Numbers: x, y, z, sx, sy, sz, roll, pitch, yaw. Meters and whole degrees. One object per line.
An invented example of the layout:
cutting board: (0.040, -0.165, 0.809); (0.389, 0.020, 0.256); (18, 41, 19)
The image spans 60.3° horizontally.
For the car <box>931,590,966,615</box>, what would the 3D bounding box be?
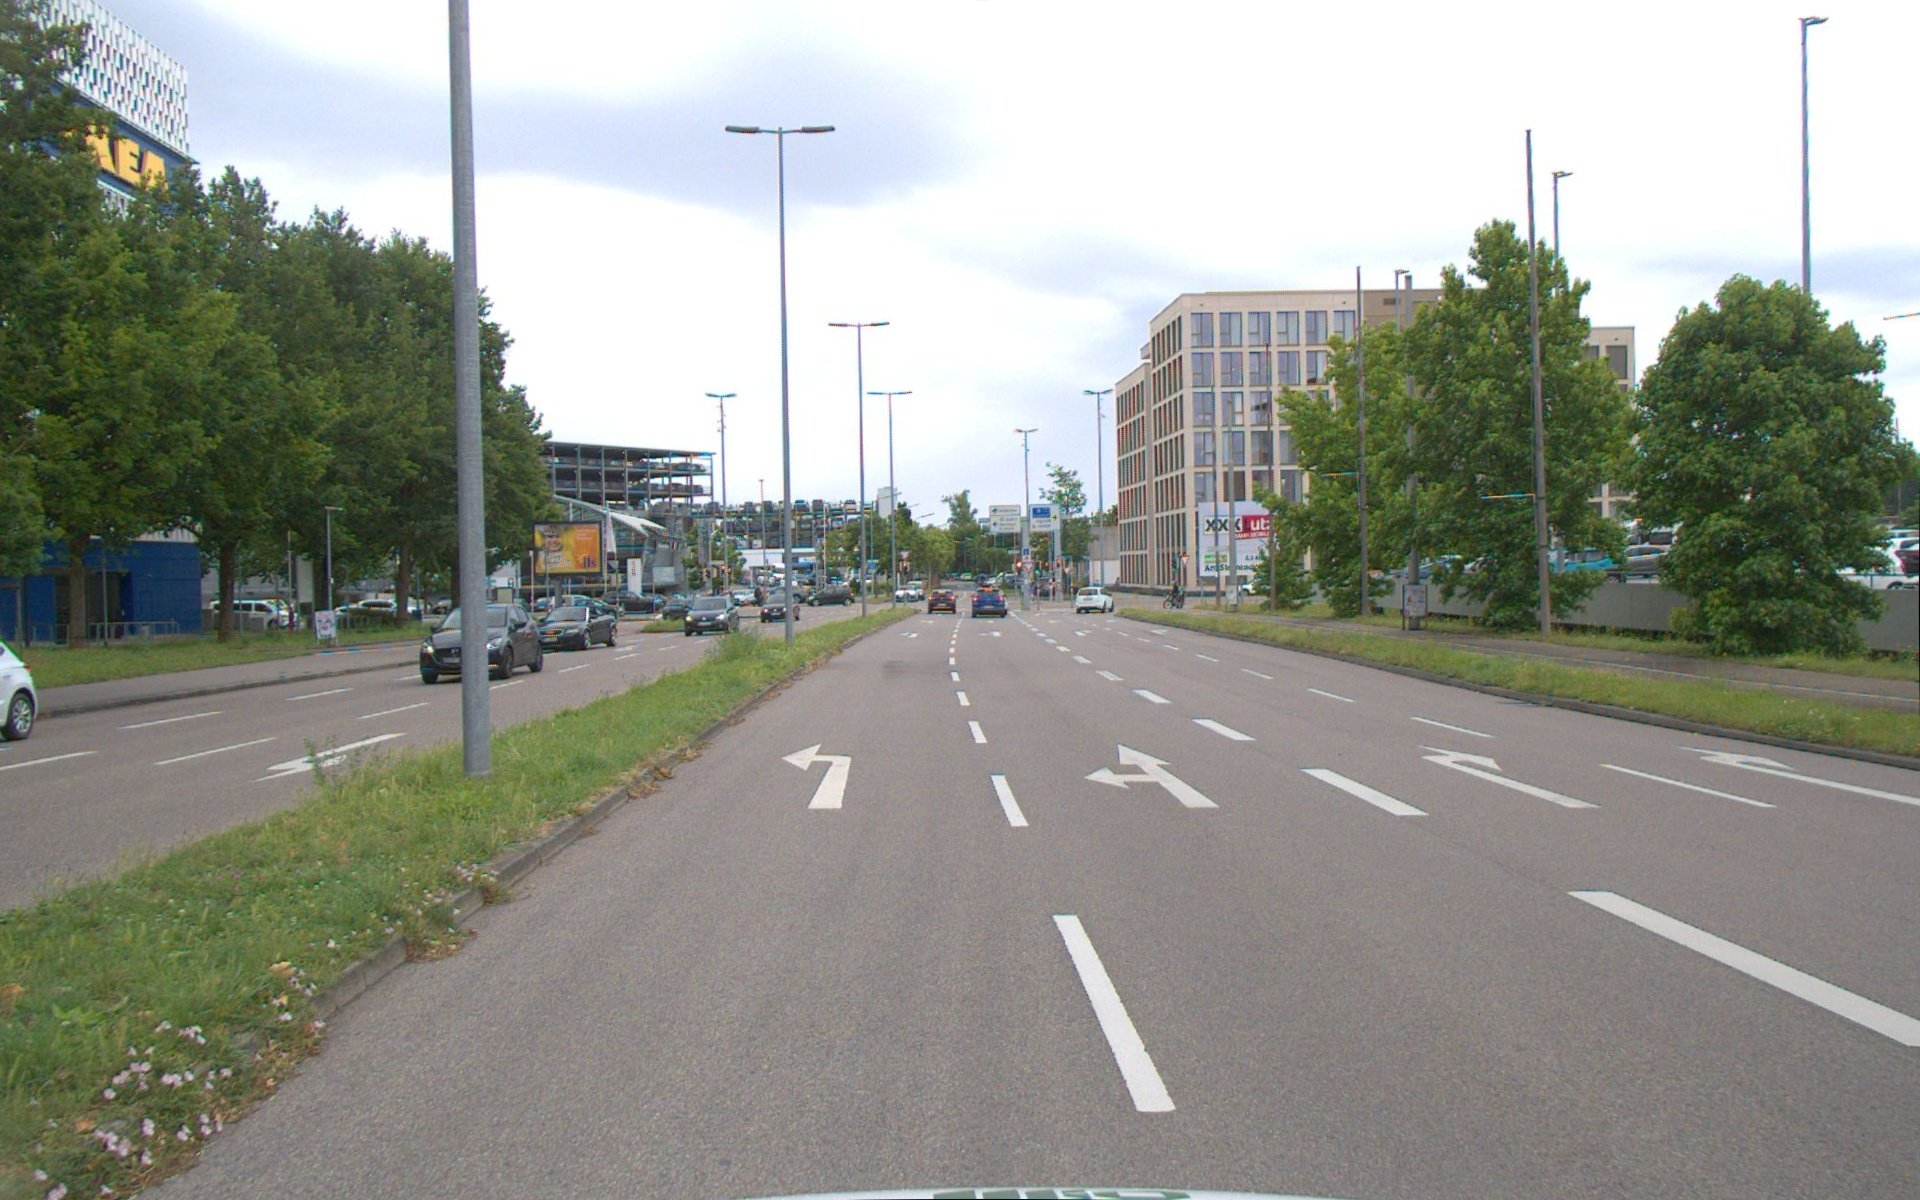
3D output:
car: (-0.719, 0.180, 100.692); (1.948, 1.453, 4.239); (-1, -1, -2)

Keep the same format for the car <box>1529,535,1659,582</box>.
car: (22.892, -1.509, 59.785); (3.988, 1.551, 1.811); (-1, 2, -5)

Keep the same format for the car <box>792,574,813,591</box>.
car: (-17.995, -1.974, 188.851); (1.738, 1.735, 3.919); (-1, 2, 4)

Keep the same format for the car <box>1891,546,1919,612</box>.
car: (22.232, -0.477, 35.112); (3.973, 1.373, 1.763); (-1, 2, -3)

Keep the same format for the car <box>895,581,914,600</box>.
car: (-4.958, -0.872, 148.866); (1.568, 1.478, 3.325); (-1, 2, 0)

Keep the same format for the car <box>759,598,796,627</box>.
car: (-9.824, 0.662, 89.210); (1.893, 1.481, 4.178); (-1, 0, -5)

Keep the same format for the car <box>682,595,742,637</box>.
car: (-9.745, 0.601, 65.127); (1.744, 1.481, 4.181); (-3, 1, -1)

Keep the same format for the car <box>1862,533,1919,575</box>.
car: (36.629, -1.776, 62.830); (3.764, 1.534, 1.784); (-2, 2, 1)

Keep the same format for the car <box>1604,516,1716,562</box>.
car: (36.227, -3.159, 85.735); (4.907, 2.249, 2.166); (-1, 2, 3)

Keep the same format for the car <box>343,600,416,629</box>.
car: (-40.483, 1.004, 115.378); (4.347, 1.740, 1.999); (-2, 4, -6)

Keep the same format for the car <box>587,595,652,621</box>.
car: (-24.847, 0.567, 120.663); (4.314, 1.672, 2.000); (-1, 2, -2)

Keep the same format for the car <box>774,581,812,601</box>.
car: (-15.698, -0.866, 155.602); (3.535, 1.696, 1.547); (-1, 2, -5)

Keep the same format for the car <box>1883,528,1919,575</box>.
car: (35.674, -1.783, 59.889); (3.556, 1.661, 1.702); (-1, 2, 3)

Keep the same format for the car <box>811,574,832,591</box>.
car: (-15.850, -2.024, 188.914); (1.738, 1.735, 3.919); (-1, 2, 4)

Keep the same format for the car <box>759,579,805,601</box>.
car: (-15.580, -0.891, 144.705); (3.909, 1.821, 1.846); (-1, 2, -5)

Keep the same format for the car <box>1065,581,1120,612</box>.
car: (8.010, -0.212, 99.494); (1.954, 1.782, 4.177); (-1, 0, 25)

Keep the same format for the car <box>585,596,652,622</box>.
car: (-23.611, 0.605, 114.437); (4.332, 1.689, 1.997); (-1, 0, -7)

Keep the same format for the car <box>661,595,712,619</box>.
car: (-21.141, 0.521, 127.870); (3.782, 1.663, 1.723); (-2, 2, -7)

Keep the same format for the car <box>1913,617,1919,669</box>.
car: (27.533, 1.112, 43.506); (3.973, 1.374, 1.763); (-1, 0, -3)

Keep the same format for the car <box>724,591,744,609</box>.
car: (-19.118, 0.019, 139.813); (1.348, 1.349, 3.023); (-2, 2, -14)

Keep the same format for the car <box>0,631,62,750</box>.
car: (-13.007, 1.202, 20.273); (1.829, 1.479, 4.165); (-4, 0, -3)

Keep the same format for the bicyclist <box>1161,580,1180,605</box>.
bicyclist: (13.060, -0.442, 102.643); (0.695, 1.530, 0.987); (-1, 1, -37)

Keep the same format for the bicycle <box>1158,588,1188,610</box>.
bicycle: (13.205, -0.064, 102.473); (0.694, 1.318, 1.985); (-1, 1, -36)

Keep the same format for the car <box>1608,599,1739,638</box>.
car: (22.222, 0.568, 51.570); (3.442, 1.151, 1.515); (-1, 0, -2)

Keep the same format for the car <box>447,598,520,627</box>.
car: (-32.598, 0.846, 113.264); (4.457, 1.688, 1.997); (-2, 1, -7)

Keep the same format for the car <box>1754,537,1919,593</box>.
car: (22.350, -0.908, 42.245); (3.446, 1.330, 1.604); (-2, 2, -7)

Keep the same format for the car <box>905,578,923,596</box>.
car: (-4.390, -1.239, 157.012); (1.568, 1.478, 3.325); (-1, 2, 0)

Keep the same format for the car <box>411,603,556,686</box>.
car: (-9.589, 0.848, 33.600); (1.722, 1.478, 4.000); (-2, 0, 0)

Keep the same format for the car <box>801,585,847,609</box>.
car: (-10.805, -0.255, 131.191); (3.605, 1.802, 1.743); (-2, 2, -6)

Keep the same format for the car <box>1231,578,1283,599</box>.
car: (24.432, -0.972, 135.991); (3.876, 1.595, 1.754); (-2, 2, -14)

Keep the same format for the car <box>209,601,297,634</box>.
car: (-47.956, 1.193, 112.283); (5.030, 1.998, 1.880); (-1, 3, -3)

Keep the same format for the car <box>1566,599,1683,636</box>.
car: (26.504, 0.697, 66.085); (3.971, 1.374, 1.763); (-1, 0, -1)

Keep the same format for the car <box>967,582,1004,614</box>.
car: (1.344, -0.121, 88.384); (1.797, 1.540, 4.000); (-1, 2, -1)

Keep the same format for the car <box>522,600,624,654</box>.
car: (-12.065, 0.819, 51.803); (1.735, 1.477, 4.408); (-3, 0, 5)
